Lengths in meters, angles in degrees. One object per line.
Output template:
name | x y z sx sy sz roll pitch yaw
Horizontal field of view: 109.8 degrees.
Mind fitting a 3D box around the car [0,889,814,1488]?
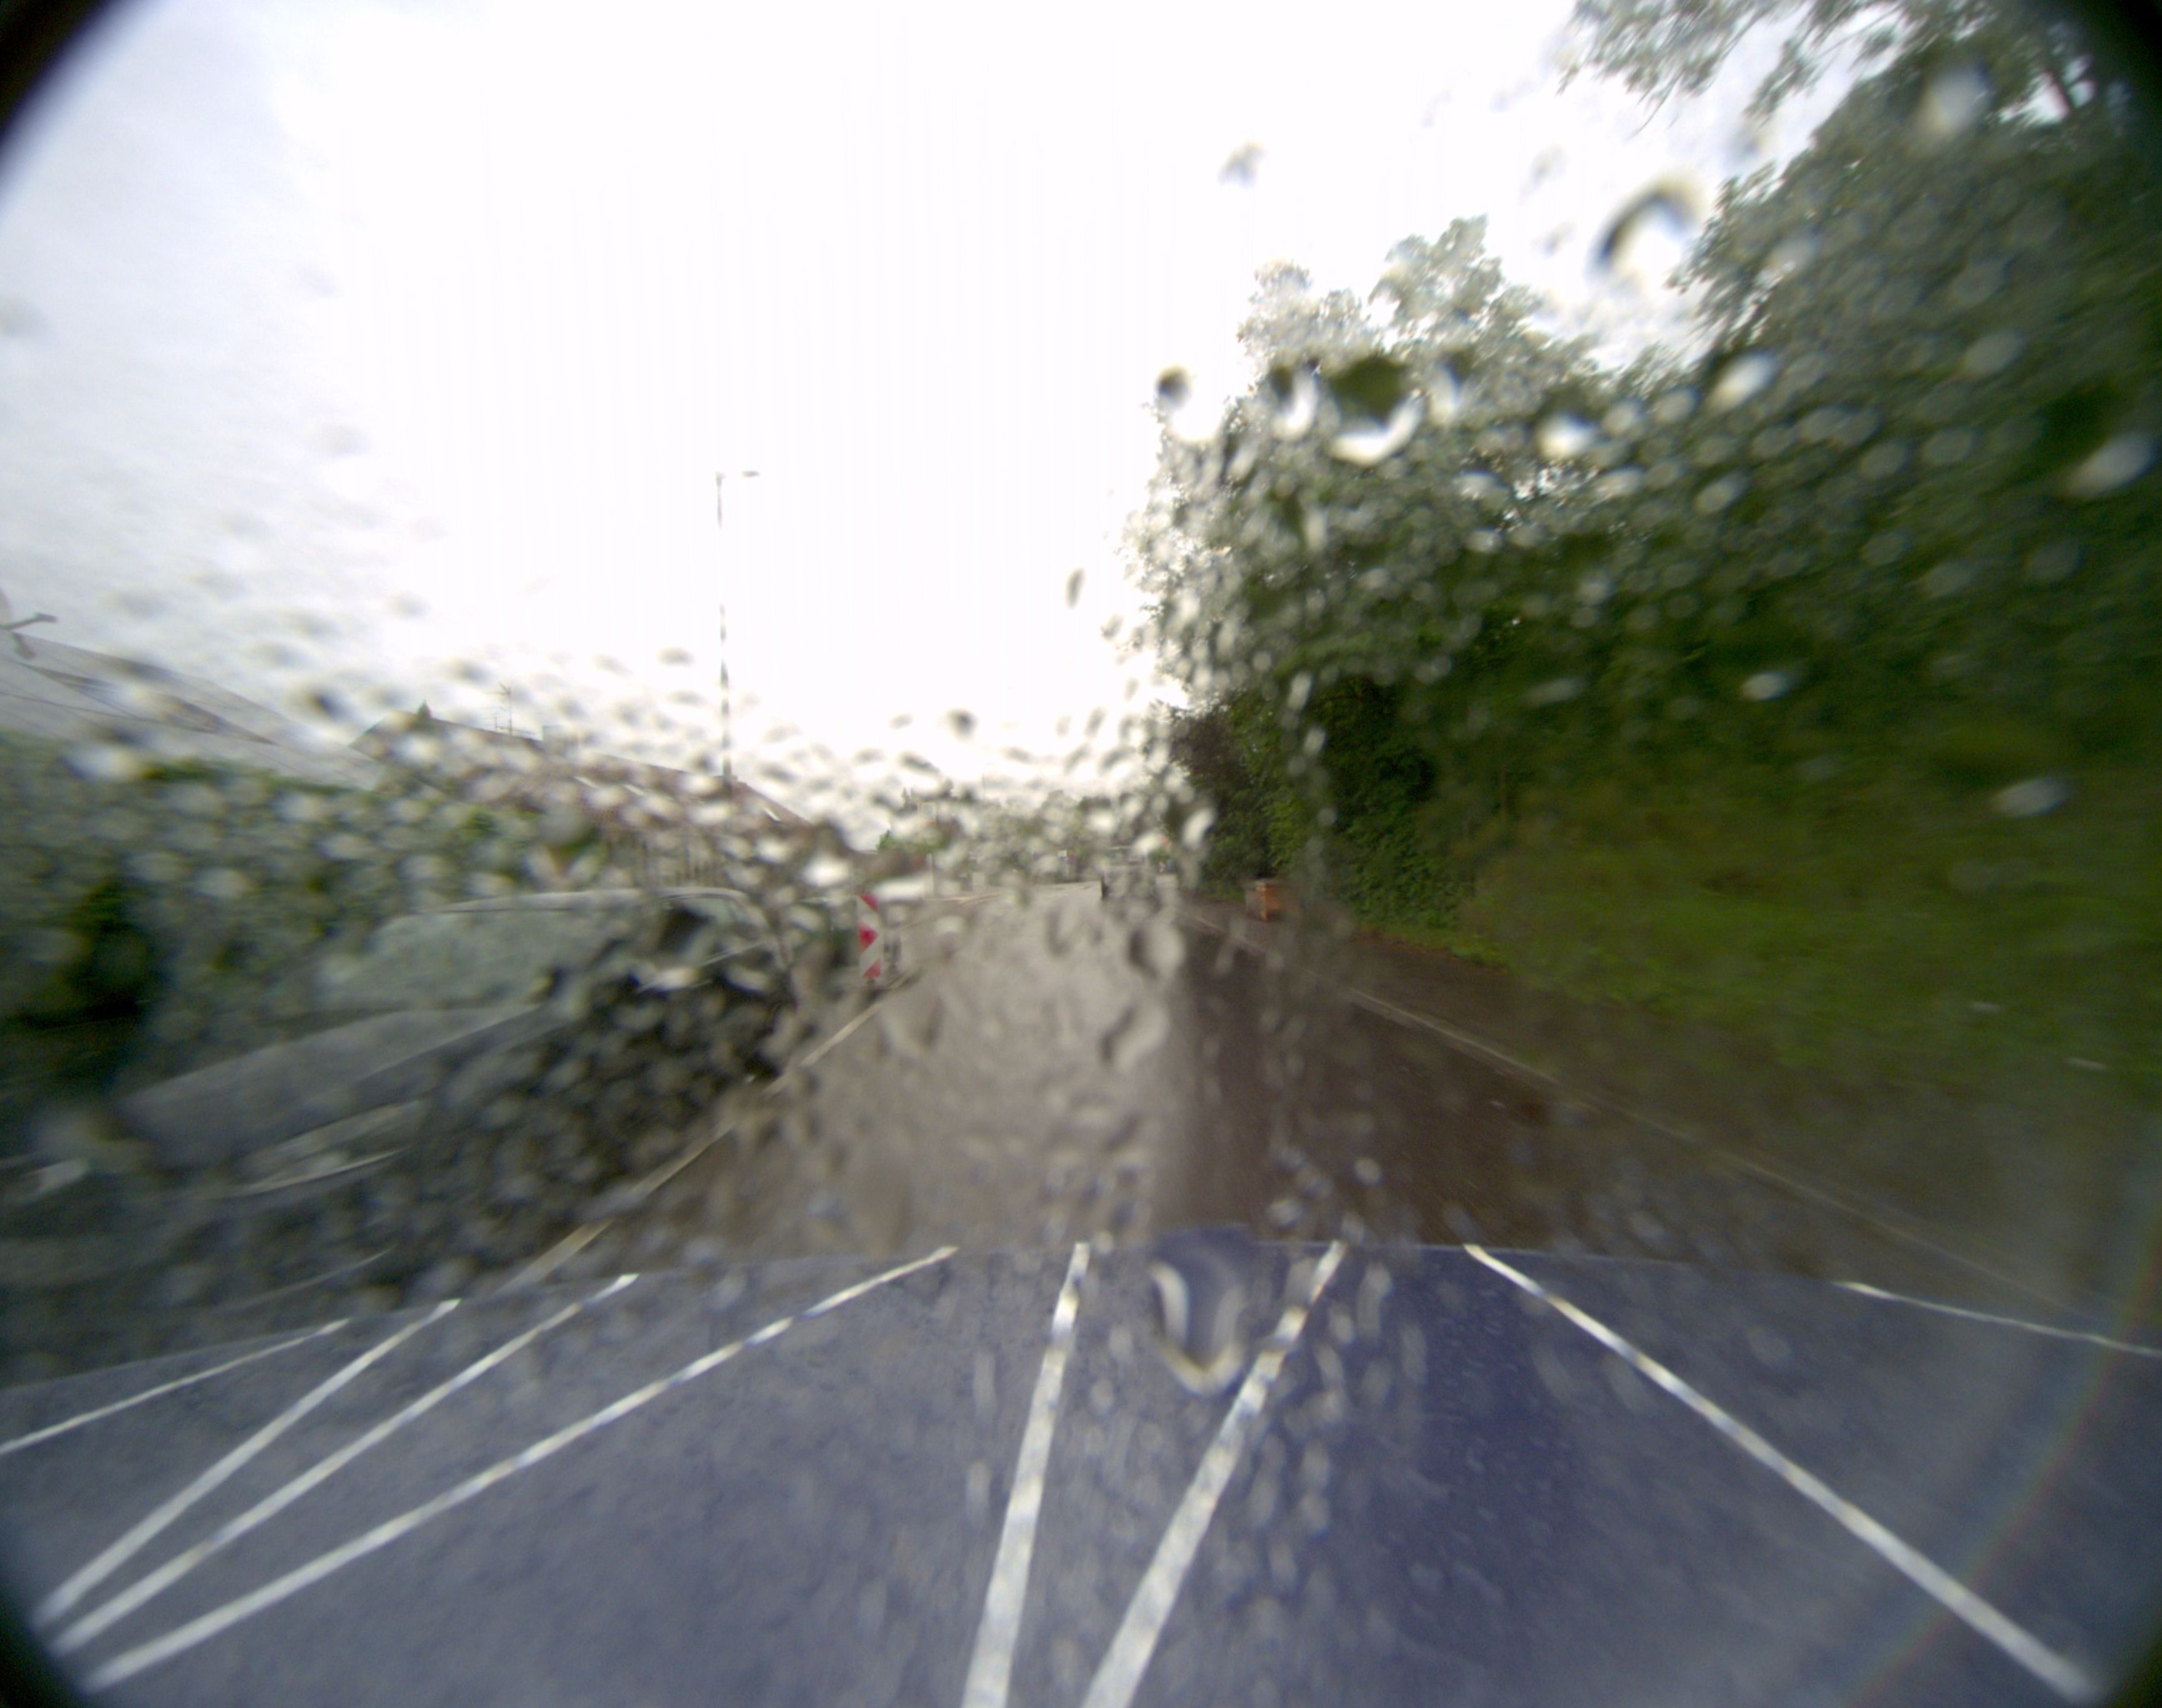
car | -3.115 1.027 4.224 1.760 1.453 4.300 -1 0 -1

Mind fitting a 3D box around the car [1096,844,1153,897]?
car | 1.775 0.652 31.382 2.116 1.963 5.174 -1 0 3

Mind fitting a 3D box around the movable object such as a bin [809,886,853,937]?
movable object such as a bin | -5.487 1.251 16.709 0.740 1.082 0.600 0 0 2

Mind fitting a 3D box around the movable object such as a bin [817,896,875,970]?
movable object such as a bin | -3.728 1.241 12.097 0.717 1.089 0.656 -3 0 -5

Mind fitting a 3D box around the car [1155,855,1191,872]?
car | 8.782 0.863 72.332 1.796 1.460 4.223 -3 0 32

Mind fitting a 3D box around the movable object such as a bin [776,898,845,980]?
movable object such as a bin | -3.881 1.206 10.947 0.731 1.072 0.661 -3 0 -3
